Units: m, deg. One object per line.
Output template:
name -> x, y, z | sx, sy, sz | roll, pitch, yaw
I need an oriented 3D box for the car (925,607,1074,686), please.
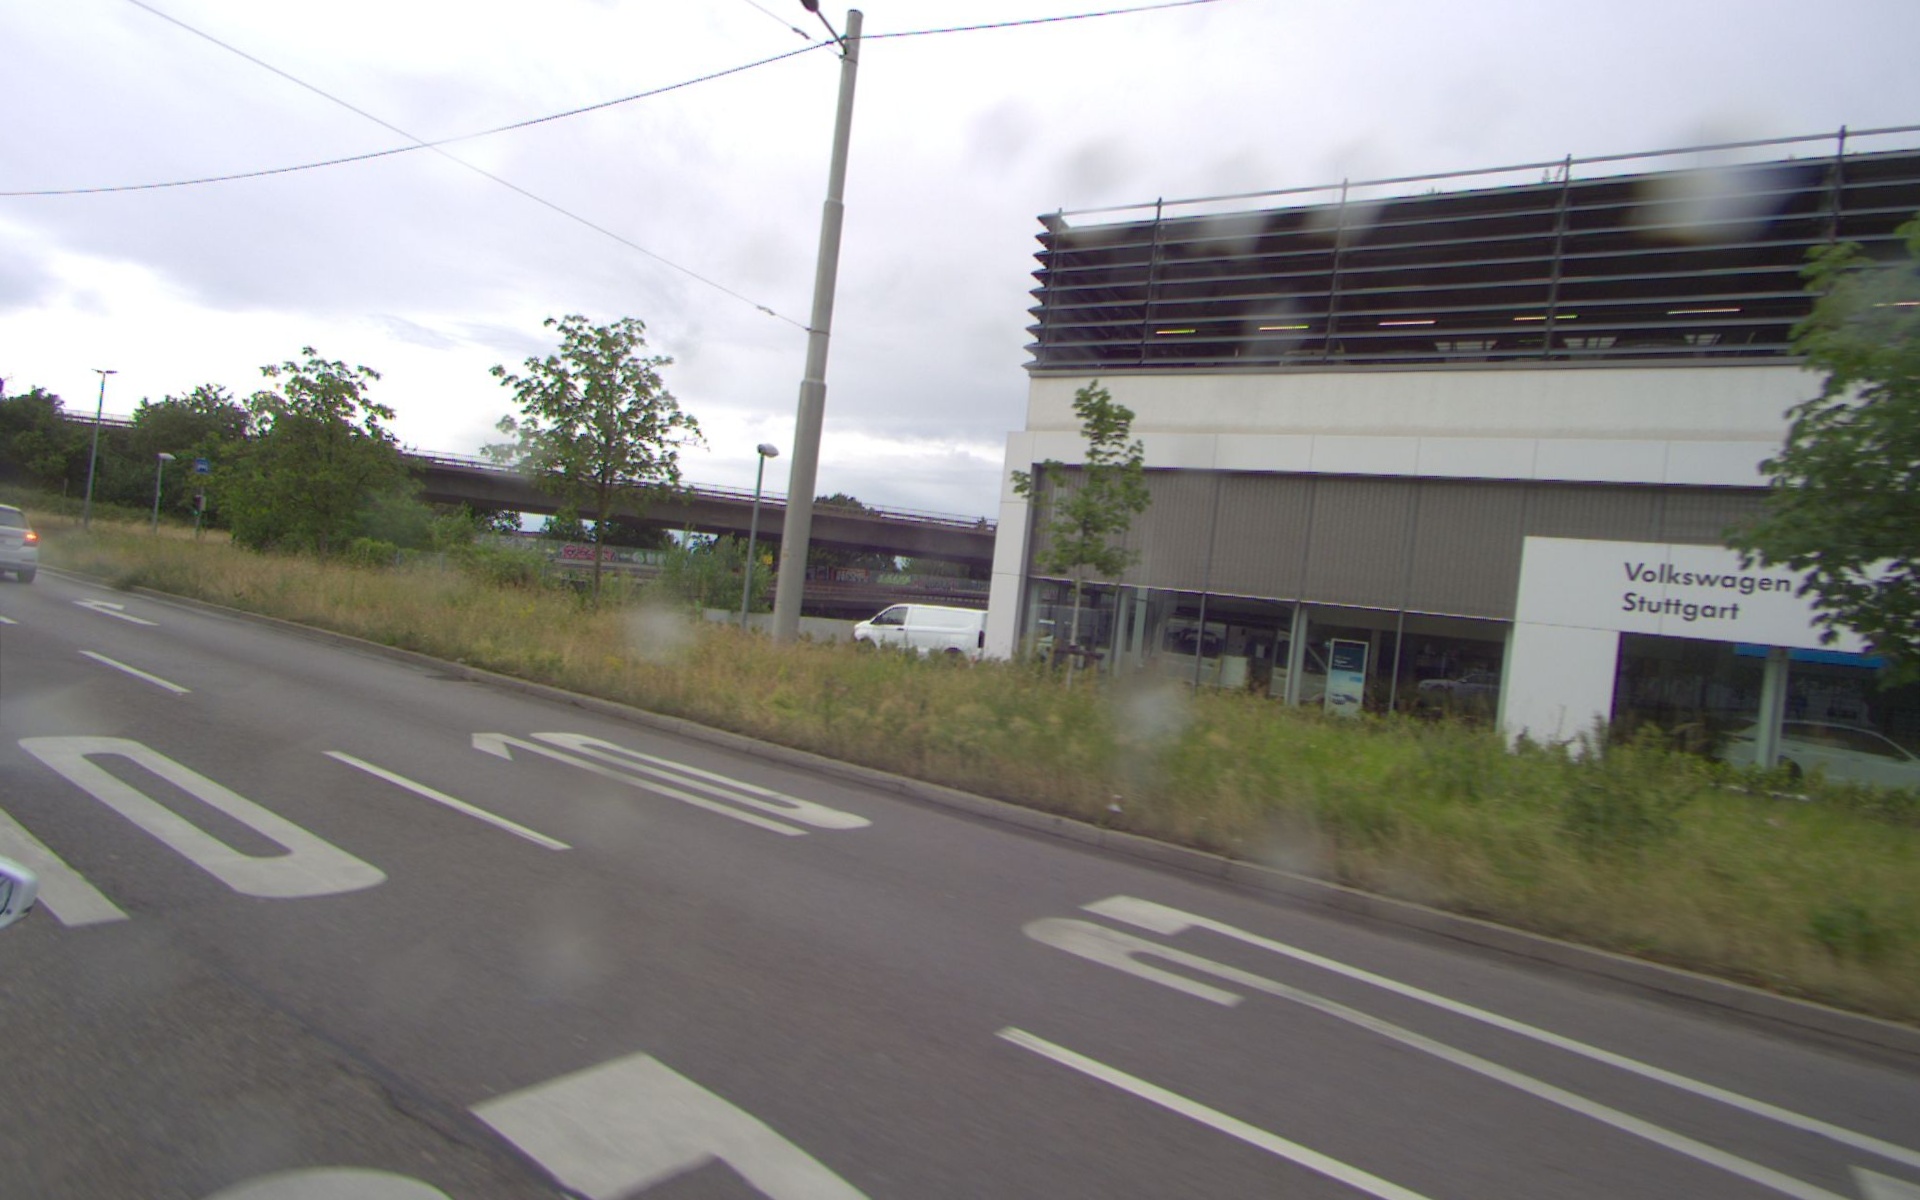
car -> 1.364, 1.607, 35.275 | 4.624, 2.073, 1.952 | 7, -3, 27

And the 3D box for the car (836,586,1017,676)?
car -> -1.060, 0.943, 30.781 | 5.002, 2.037, 2.049 | 7, -1, 28

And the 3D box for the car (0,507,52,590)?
car -> -19.624, -1.184, 19.862 | 3.615, 1.474, 1.748 | 7, -2, 37
